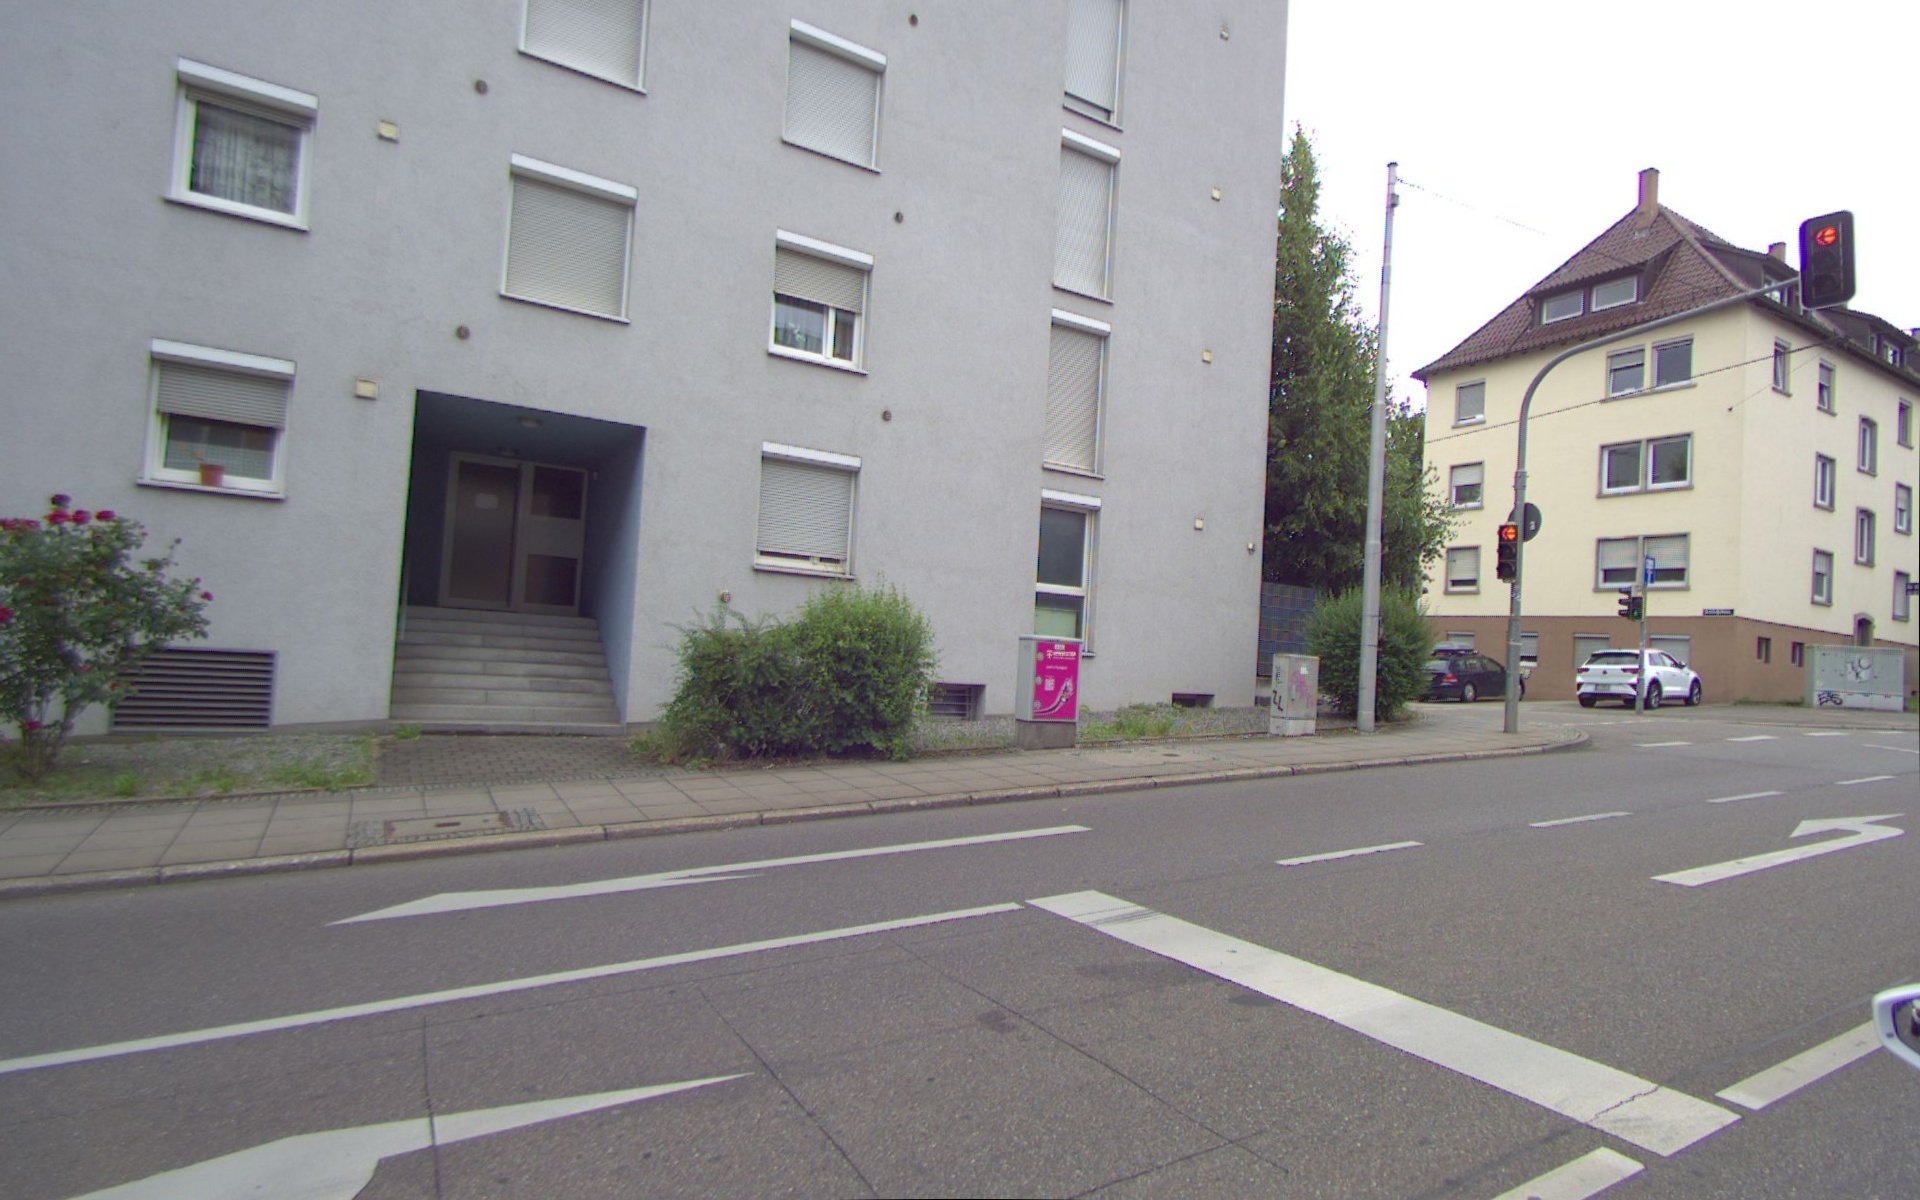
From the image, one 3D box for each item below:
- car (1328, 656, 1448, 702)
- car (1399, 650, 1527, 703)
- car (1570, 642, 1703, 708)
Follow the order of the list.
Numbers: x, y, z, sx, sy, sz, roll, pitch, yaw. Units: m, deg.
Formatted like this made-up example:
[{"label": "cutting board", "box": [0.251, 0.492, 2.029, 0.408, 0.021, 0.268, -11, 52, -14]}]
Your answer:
[{"label": "car", "box": [14.299, 2.608, 33.519, 3.953, 1.380, 1.662, 2, -1, -30]}, {"label": "car", "box": [15.844, 2.380, 31.614, 4.053, 1.566, 1.662, 2, -4, -30]}, {"label": "car", "box": [18.440, 2.010, 27.352, 3.960, 1.683, 1.660, 2, -4, -35]}]
